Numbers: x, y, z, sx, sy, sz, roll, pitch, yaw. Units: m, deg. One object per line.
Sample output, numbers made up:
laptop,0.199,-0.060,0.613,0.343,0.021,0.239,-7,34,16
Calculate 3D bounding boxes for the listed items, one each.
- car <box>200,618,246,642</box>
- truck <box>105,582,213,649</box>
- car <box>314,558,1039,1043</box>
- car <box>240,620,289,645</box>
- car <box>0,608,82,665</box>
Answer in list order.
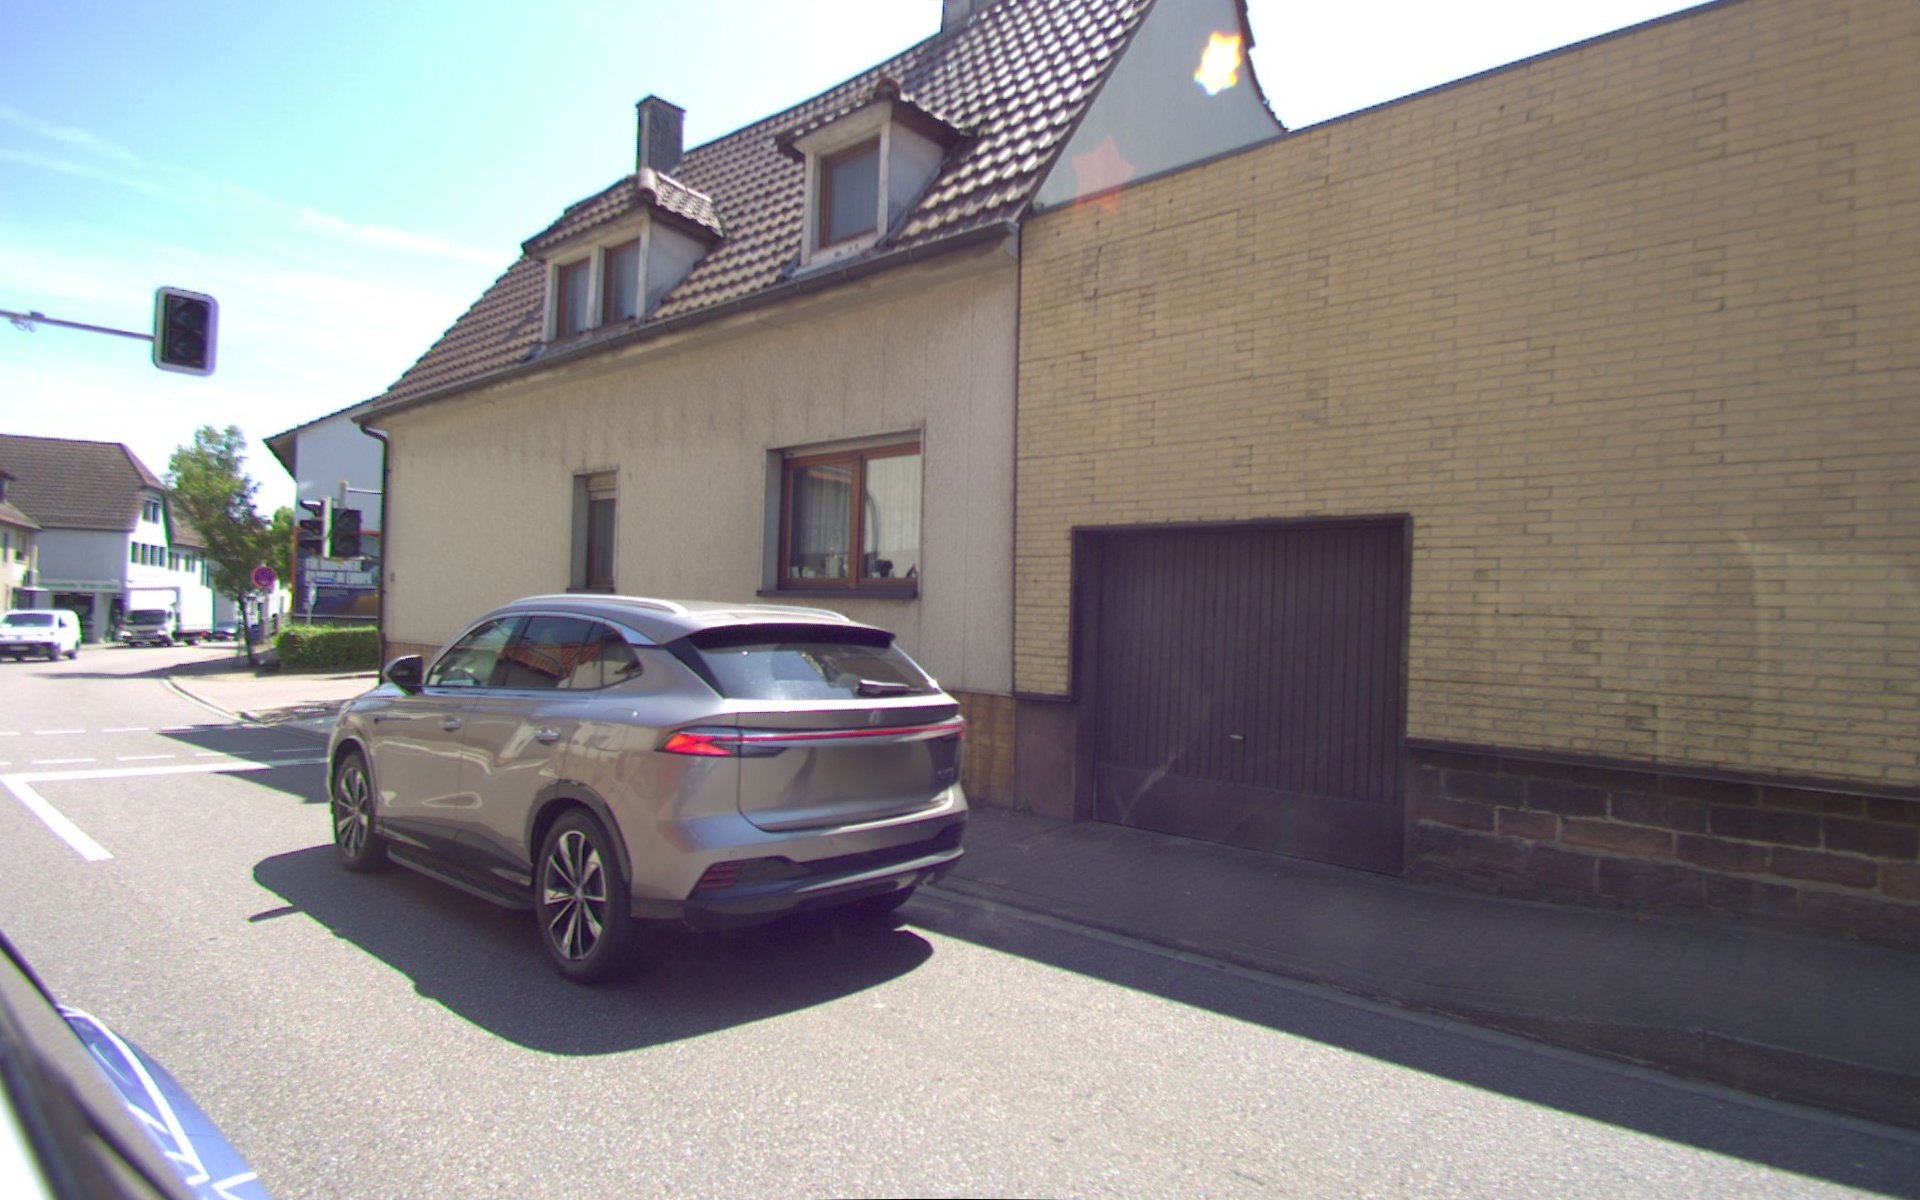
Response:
car,-50.626,2.011,69.589,1.836,1.541,4.013,0,0,-25
truck,-46.253,0.907,58.716,2.819,3.539,8.347,3,-2,-24
car,-1.809,0.733,5.543,4.259,1.634,1.810,-1,-3,42
car,-44.351,2.062,64.613,1.756,1.440,4.154,1,-1,-23
car,-35.090,1.321,38.183,2.045,1.975,5.535,1,-1,-31
